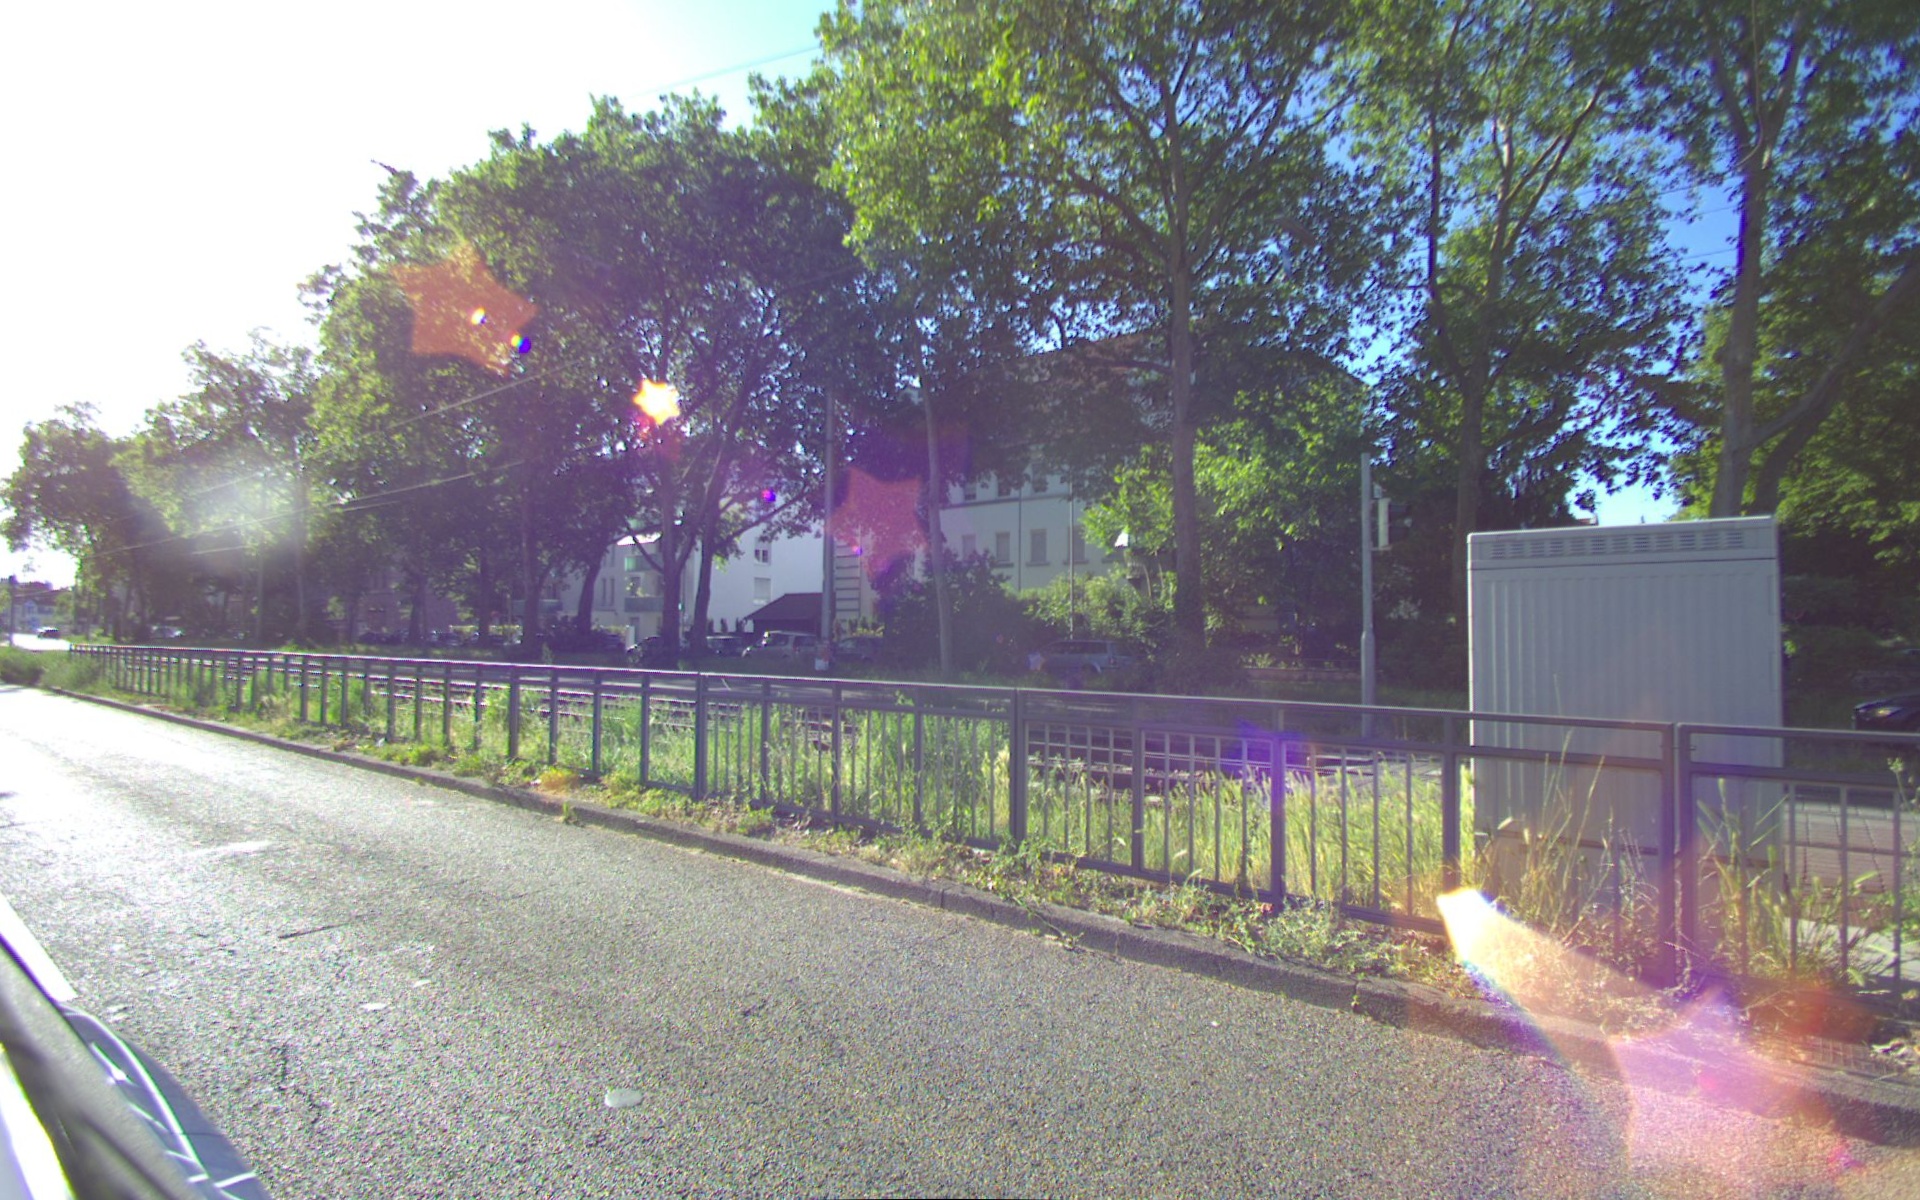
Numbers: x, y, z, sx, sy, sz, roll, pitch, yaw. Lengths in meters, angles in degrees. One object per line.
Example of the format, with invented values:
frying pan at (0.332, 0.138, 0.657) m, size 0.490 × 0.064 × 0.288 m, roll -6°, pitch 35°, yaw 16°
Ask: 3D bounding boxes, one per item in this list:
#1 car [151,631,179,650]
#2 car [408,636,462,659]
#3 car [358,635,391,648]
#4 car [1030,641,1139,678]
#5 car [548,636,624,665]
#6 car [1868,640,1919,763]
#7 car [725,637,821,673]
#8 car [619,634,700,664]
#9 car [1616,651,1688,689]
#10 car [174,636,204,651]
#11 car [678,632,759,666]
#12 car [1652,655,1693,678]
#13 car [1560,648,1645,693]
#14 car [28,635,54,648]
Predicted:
car at (-86.234, 4.400, 109.737) m, size 1.970 × 2.029 × 4.002 m, roll 2°, pitch -3°, yaw -45°
car at (-34.038, 3.063, 65.555) m, size 3.998 × 1.484 × 1.778 m, roll -2°, pitch -3°, yaw 41°
car at (-41.616, 2.954, 71.911) m, size 3.058 × 0.883 × 1.094 m, roll -2°, pitch -3°, yaw 41°
car at (3.996, 1.886, 32.691) m, size 3.213 × 1.125 × 1.458 m, roll -2°, pitch -3°, yaw 38°
car at (-19.662, 2.628, 53.115) m, size 4.317 × 1.464 × 1.972 m, roll -2°, pitch -3°, yaw 42°
car at (13.813, 1.233, 12.034) m, size 4.337 × 1.510 × 1.667 m, roll -2°, pitch -2°, yaw 38°
car at (-7.956, 2.296, 42.928) m, size 4.317 × 1.451 × 1.717 m, roll -2°, pitch -3°, yaw 42°
car at (-14.537, 2.349, 48.815) m, size 4.459 × 1.334 × 1.623 m, roll -2°, pitch -5°, yaw 42°
car at (28.746, 2.853, 42.022) m, size 1.999 × 1.429 × 3.945 m, roll -2°, pitch -3°, yaw 41°
car at (-78.809, 4.435, 103.385) m, size 3.687 × 1.497 × 1.748 m, roll -2°, pitch -3°, yaw 42°
car at (-10.872, 2.181, 45.494) m, size 3.696 × 1.476 × 1.756 m, roll -2°, pitch -3°, yaw 42°
car at (39.800, 3.696, 56.490) m, size 1.531 × 1.127 × 3.083 m, roll -2°, pitch -3°, yaw 41°
car at (23.065, 2.476, 36.274) m, size 1.999 × 1.429 × 3.945 m, roll -2°, pitch -3°, yaw 41°
car at (-120.761, 5.470, 132.996) m, size 4.456 × 1.660 × 1.839 m, roll -2°, pitch -3°, yaw 40°
